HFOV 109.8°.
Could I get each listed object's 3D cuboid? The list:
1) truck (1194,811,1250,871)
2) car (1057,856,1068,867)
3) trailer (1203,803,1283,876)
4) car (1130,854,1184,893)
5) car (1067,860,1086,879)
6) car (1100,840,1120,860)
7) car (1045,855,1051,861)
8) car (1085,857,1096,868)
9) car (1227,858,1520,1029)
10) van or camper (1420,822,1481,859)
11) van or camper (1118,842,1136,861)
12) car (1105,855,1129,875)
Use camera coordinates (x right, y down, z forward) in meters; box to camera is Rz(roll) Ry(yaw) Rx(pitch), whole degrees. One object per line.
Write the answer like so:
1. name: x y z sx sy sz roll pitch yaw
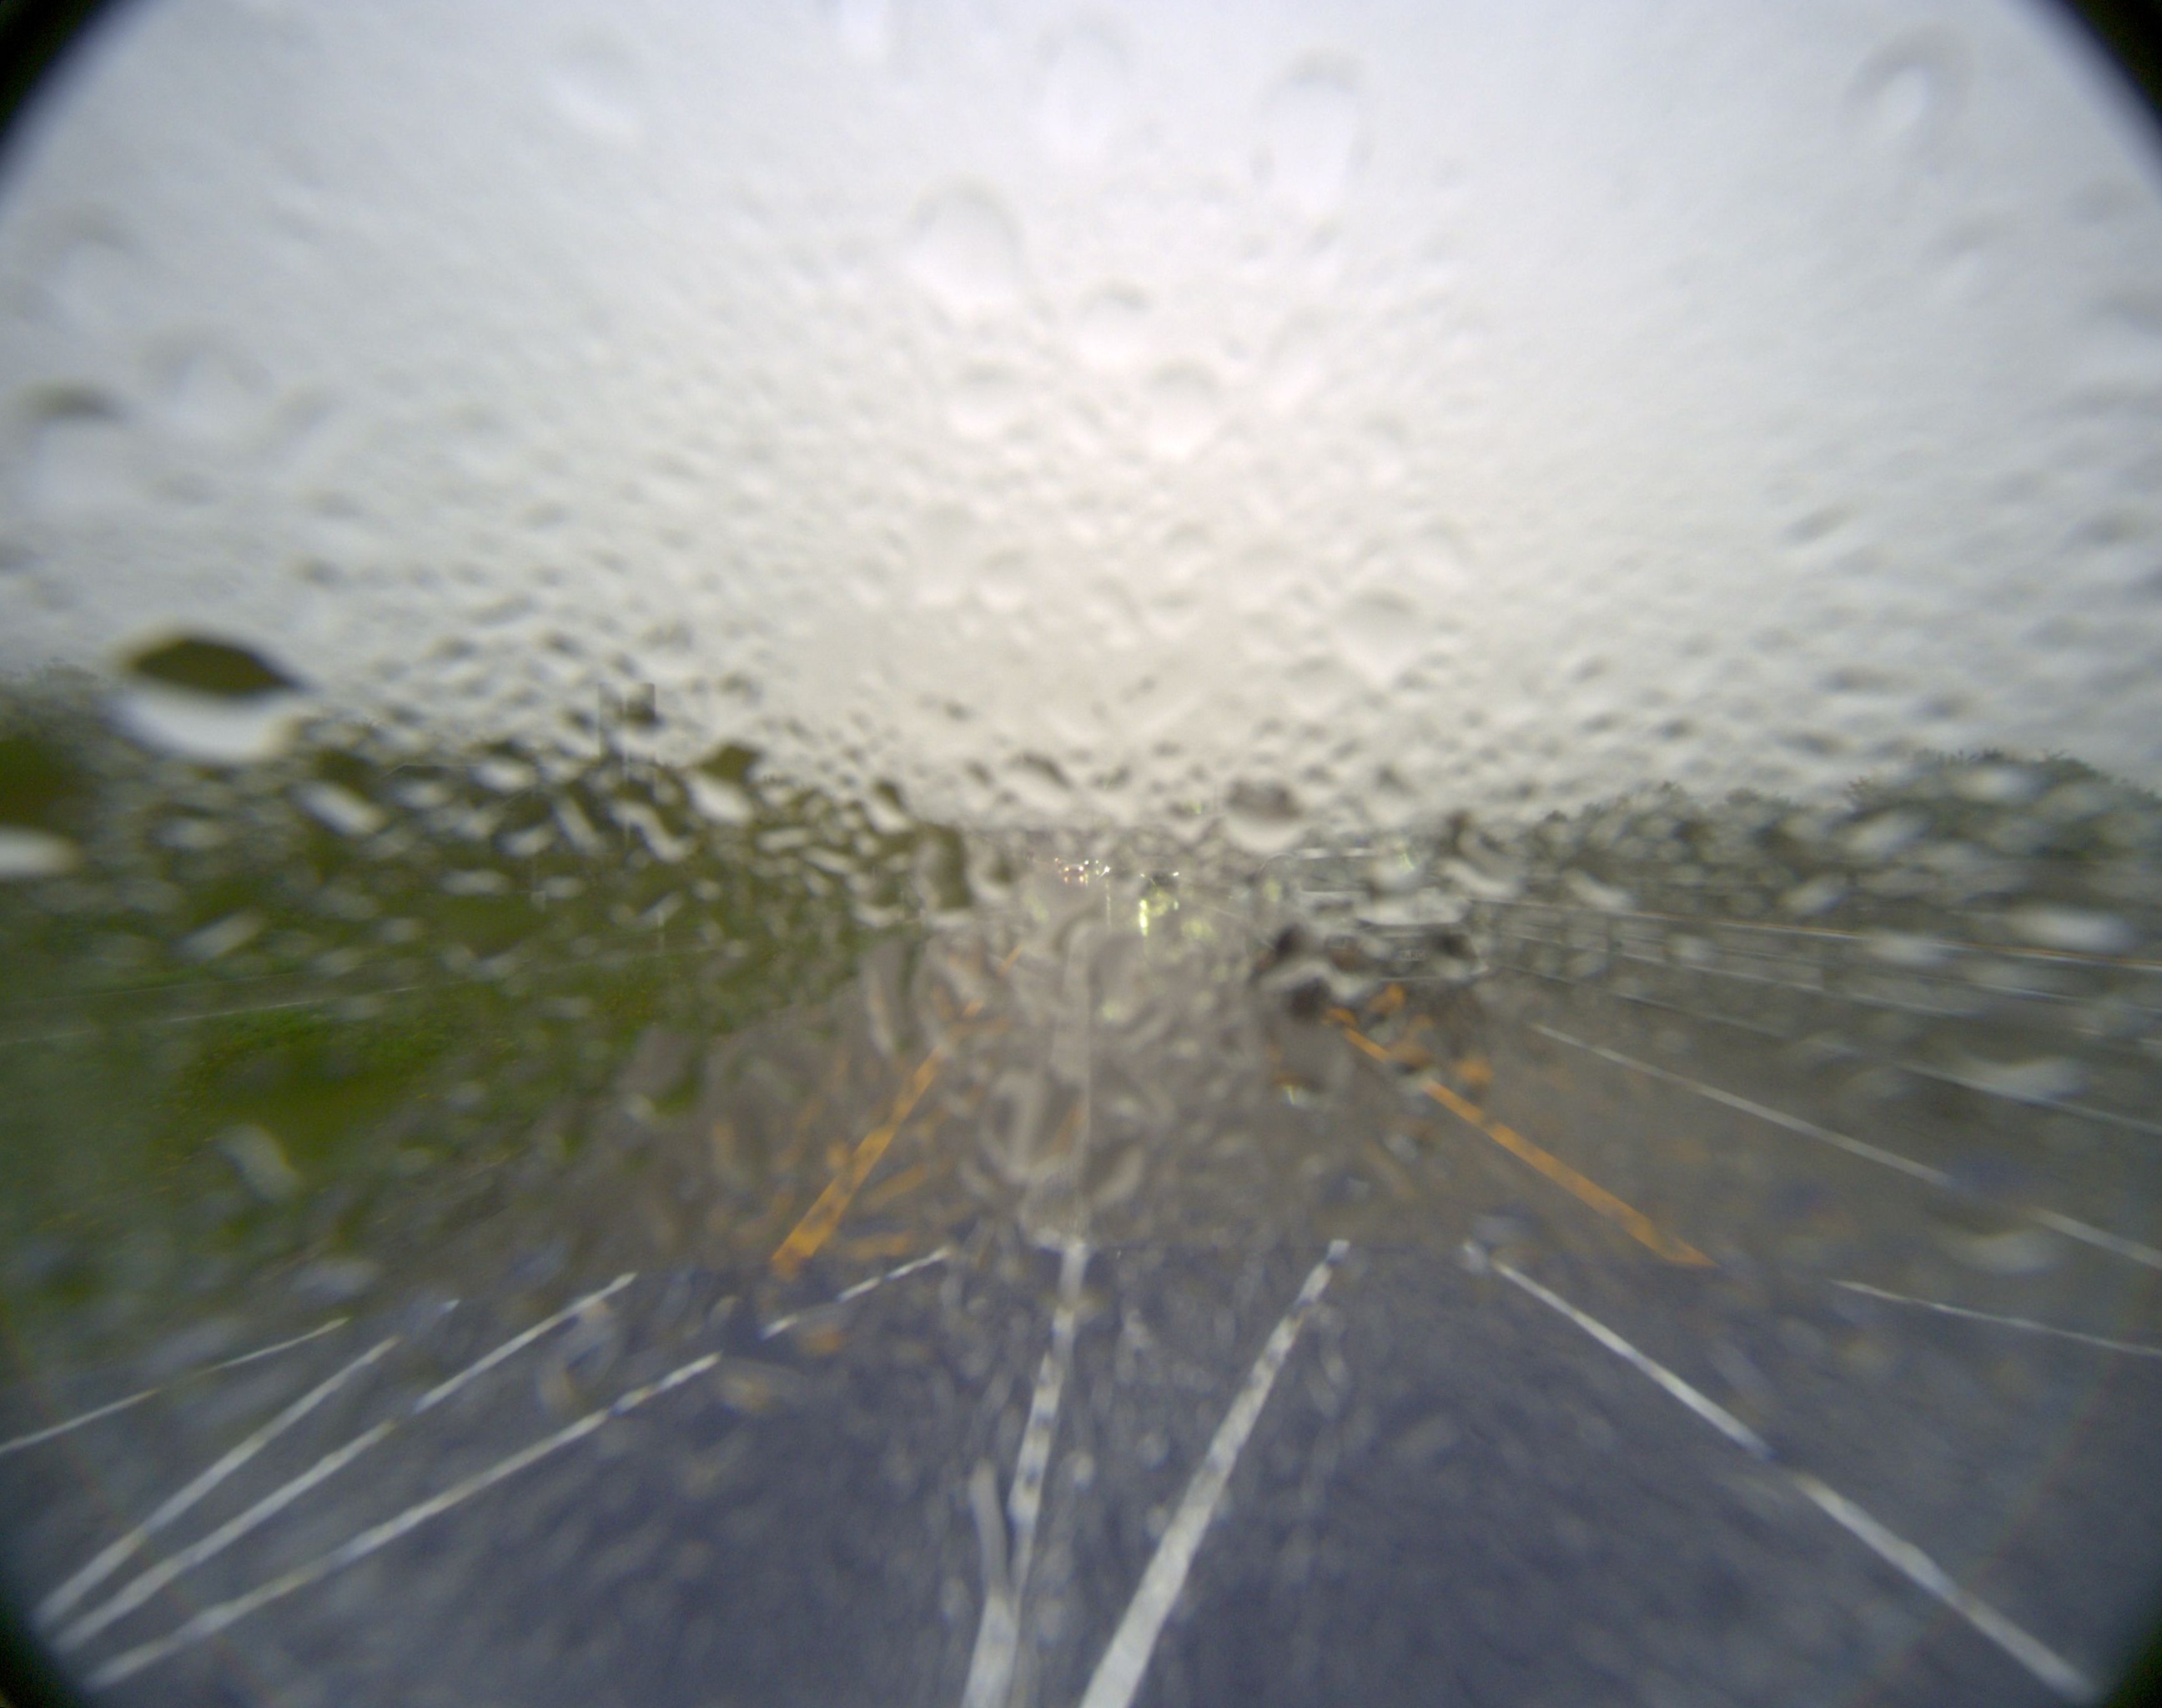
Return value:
1. truck: 10.162 -0.919 55.589 2.649 4.024 7.285 -3 1 1
2. car: -2.960 1.172 121.807 1.674 1.804 3.998 -1 0 -4
3. trailer: 10.044 -0.838 48.606 2.619 3.984 11.927 -3 0 1
4. car: 3.469 0.843 35.513 2.069 1.618 5.196 -2 0 1
5. car: -0.426 1.503 76.457 1.881 1.772 4.000 -1 0 1
6. car: 5.798 -0.851 152.596 3.305 3.718 9.399 -3 0 -1
7. car: -10.566 1.308 242.922 1.673 1.804 4.000 -1 0 0
8. car: 1.404 1.244 108.806 1.589 1.528 3.831 -1 0 1
9. car: 3.248 0.865 9.697 1.932 1.542 5.007 -1 0 2
10. van or camper: 46.776 -1.658 96.435 3.375 4.299 8.505 -3 0 -1
11. van or camper: 7.548 -0.368 125.373 2.491 2.901 6.222 -3 0 -1
12. car: 2.927 0.881 62.852 1.792 1.480 4.000 -3 0 1
